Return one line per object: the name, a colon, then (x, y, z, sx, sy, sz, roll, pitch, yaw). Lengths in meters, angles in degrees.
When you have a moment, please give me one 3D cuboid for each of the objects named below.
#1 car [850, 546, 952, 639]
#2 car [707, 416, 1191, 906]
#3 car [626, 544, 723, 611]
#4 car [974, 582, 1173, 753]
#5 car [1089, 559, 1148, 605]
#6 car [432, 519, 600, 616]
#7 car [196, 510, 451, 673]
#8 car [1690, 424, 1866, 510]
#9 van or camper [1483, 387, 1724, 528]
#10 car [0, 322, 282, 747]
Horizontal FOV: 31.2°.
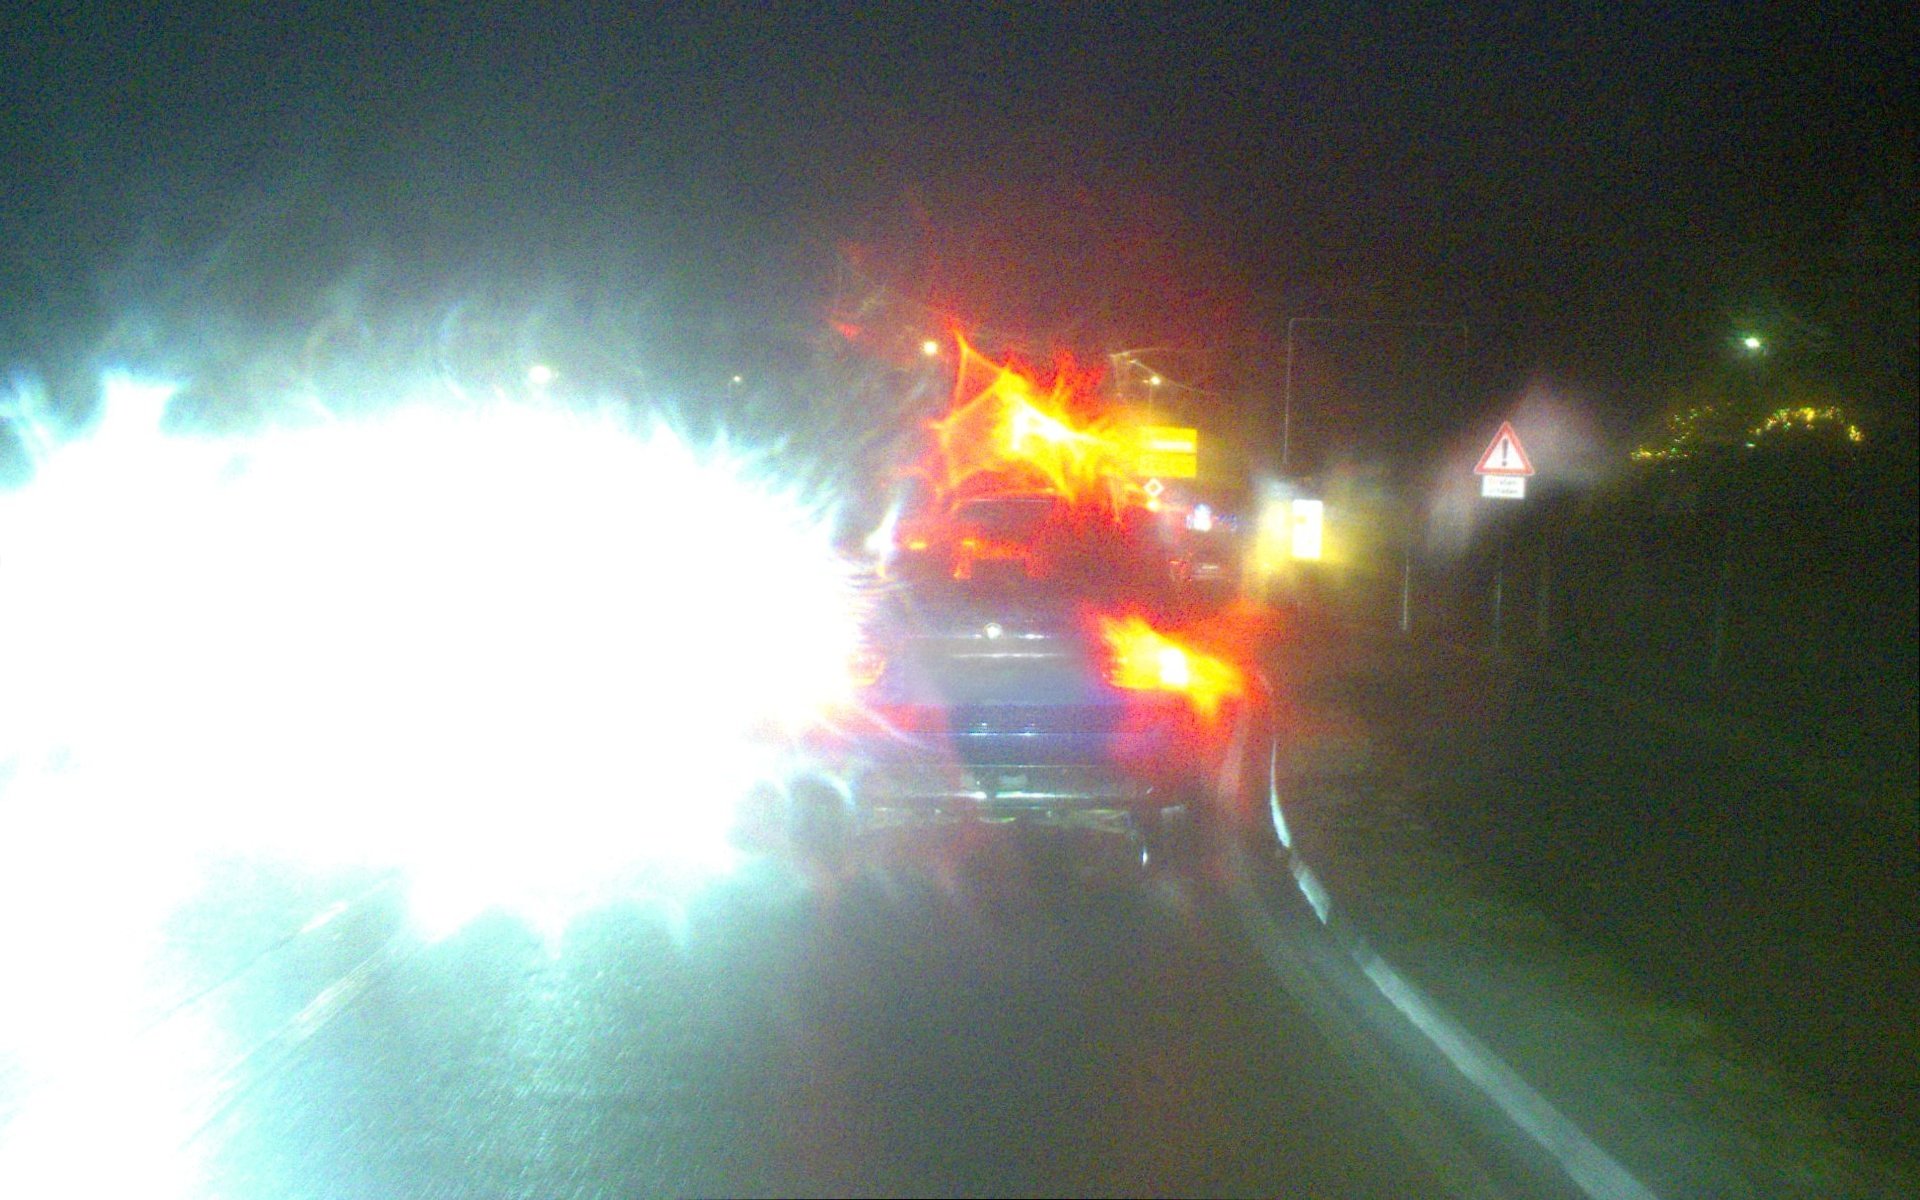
car: (-1.066, -0.149, 63.825, 1.694, 1.624, 3.852, 2, 1, 2)
car: (0.040, 0.200, 16.135, 1.942, 1.965, 4.218, 1, 1, 2)
car: (-6.567, -0.534, 79.395, 1.918, 1.439, 4.546, 1, 1, -1)
car: (1.159, 0.603, 33.284, 1.768, 1.445, 4.218, 1, 1, 4)
car: (5.141, -0.570, 110.951, 1.663, 1.445, 4.049, 1, 0, 6)
car: (-6.995, -0.549, 54.674, 2.077, 1.444, 4.992, 1, 1, -1)
car: (-6.437, -0.125, 35.158, 1.878, 1.532, 3.988, 1, 1, 0)
car: (16.183, -2.611, 68.195, 1.635, 1.612, 4.136, 1, 1, -14)
van or camper: (13.933, -3.038, 74.979, 2.579, 2.898, 6.361, 0, 1, -16)
car: (-6.635, -0.496, 25.002, 2.122, 2.698, 6.241, 1, 1, 0)
